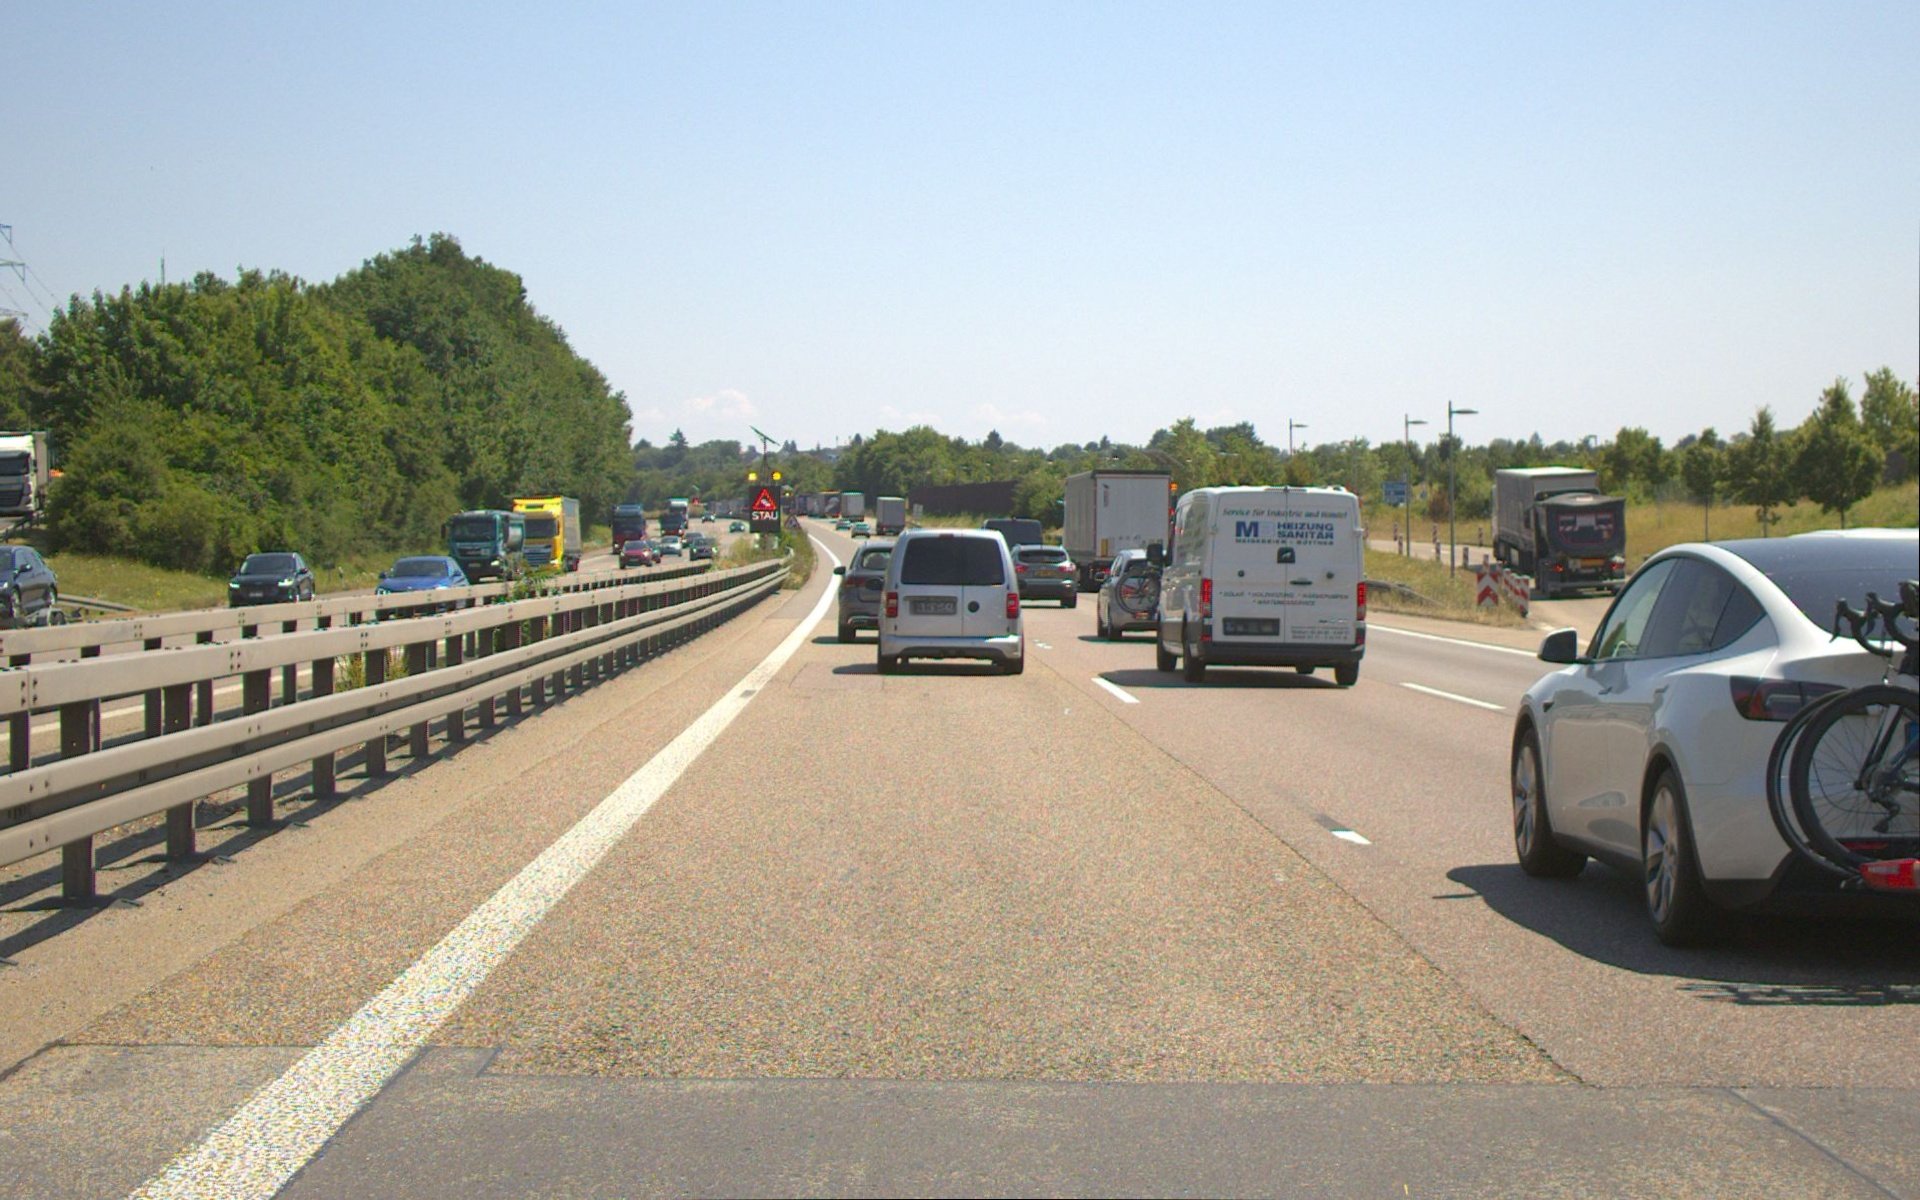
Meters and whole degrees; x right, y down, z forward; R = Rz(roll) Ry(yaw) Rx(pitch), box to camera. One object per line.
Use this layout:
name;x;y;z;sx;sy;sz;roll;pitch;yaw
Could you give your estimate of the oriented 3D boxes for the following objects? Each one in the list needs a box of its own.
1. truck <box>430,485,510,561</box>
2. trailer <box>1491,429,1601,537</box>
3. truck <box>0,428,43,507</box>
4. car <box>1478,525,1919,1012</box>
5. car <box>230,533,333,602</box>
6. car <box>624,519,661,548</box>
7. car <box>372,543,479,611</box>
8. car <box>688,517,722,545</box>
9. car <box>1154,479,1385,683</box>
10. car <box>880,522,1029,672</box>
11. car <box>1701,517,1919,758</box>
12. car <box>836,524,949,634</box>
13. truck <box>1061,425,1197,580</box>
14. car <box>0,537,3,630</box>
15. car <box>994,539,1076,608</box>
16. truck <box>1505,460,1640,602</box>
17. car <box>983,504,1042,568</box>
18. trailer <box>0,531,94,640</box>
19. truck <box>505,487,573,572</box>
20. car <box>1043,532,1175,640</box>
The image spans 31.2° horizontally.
truck;-21.793;-3.433;153.185;2.914;3.289;5.331;-1;1;-1
trailer;23.535;-4.623;138.695;3.053;4.069;14.256;1;1;5
truck;-47.825;-6.693;172.783;2.943;3.882;4.326;-1;3;-10
car;3.623;0.524;14.402;1.950;1.630;5.601;1;1;-1
car;-18.778;-0.916;95.360;2.157;1.793;4.514;-2;1;-3
car;-17.840;-3.735;193.275;1.781;1.525;4.385;-3;1;-2
car;-12.354;-0.564;79.689;1.782;1.468;4.355;-1;1;0
car;-15.055;-4.087;203.367;1.782;1.619;4.000;-1;1;-1
car;3.612;-0.268;41.131;2.181;2.246;5.364;1;1;-1
car;-0.089;-0.085;42.881;1.745;1.758;4.089;-1;1;-1
car;7.659;0.238;28.468;1.950;1.831;4.179;-1;1;-3
car;-1.068;-0.371;55.833;1.745;1.695;4.089;-1;1;0
truck;5.709;-3.301;118.498;3.788;4.982;12.520;1;1;-1
car;-18.148;-0.683;58.493;2.109;2.630;6.005;-1;1;-1
car;1.875;-0.688;86.790;1.901;1.666;4.089;-1;1;-1
truck;19.038;-2.127;106.870;3.790;4.069;12.513;1;1;10
car;1.595;-1.967;105.326;1.674;1.885;4.089;-1;1;-1
trailer;-18.406;-0.292;64.820;2.764;1.939;6.725;-2;1;-3
truck;-21.748;-3.674;177.734;3.174;4.326;3.514;-1;1;-3
car;2.473;-0.263;57.944;1.976;1.727;4.089;-1;1;-1
